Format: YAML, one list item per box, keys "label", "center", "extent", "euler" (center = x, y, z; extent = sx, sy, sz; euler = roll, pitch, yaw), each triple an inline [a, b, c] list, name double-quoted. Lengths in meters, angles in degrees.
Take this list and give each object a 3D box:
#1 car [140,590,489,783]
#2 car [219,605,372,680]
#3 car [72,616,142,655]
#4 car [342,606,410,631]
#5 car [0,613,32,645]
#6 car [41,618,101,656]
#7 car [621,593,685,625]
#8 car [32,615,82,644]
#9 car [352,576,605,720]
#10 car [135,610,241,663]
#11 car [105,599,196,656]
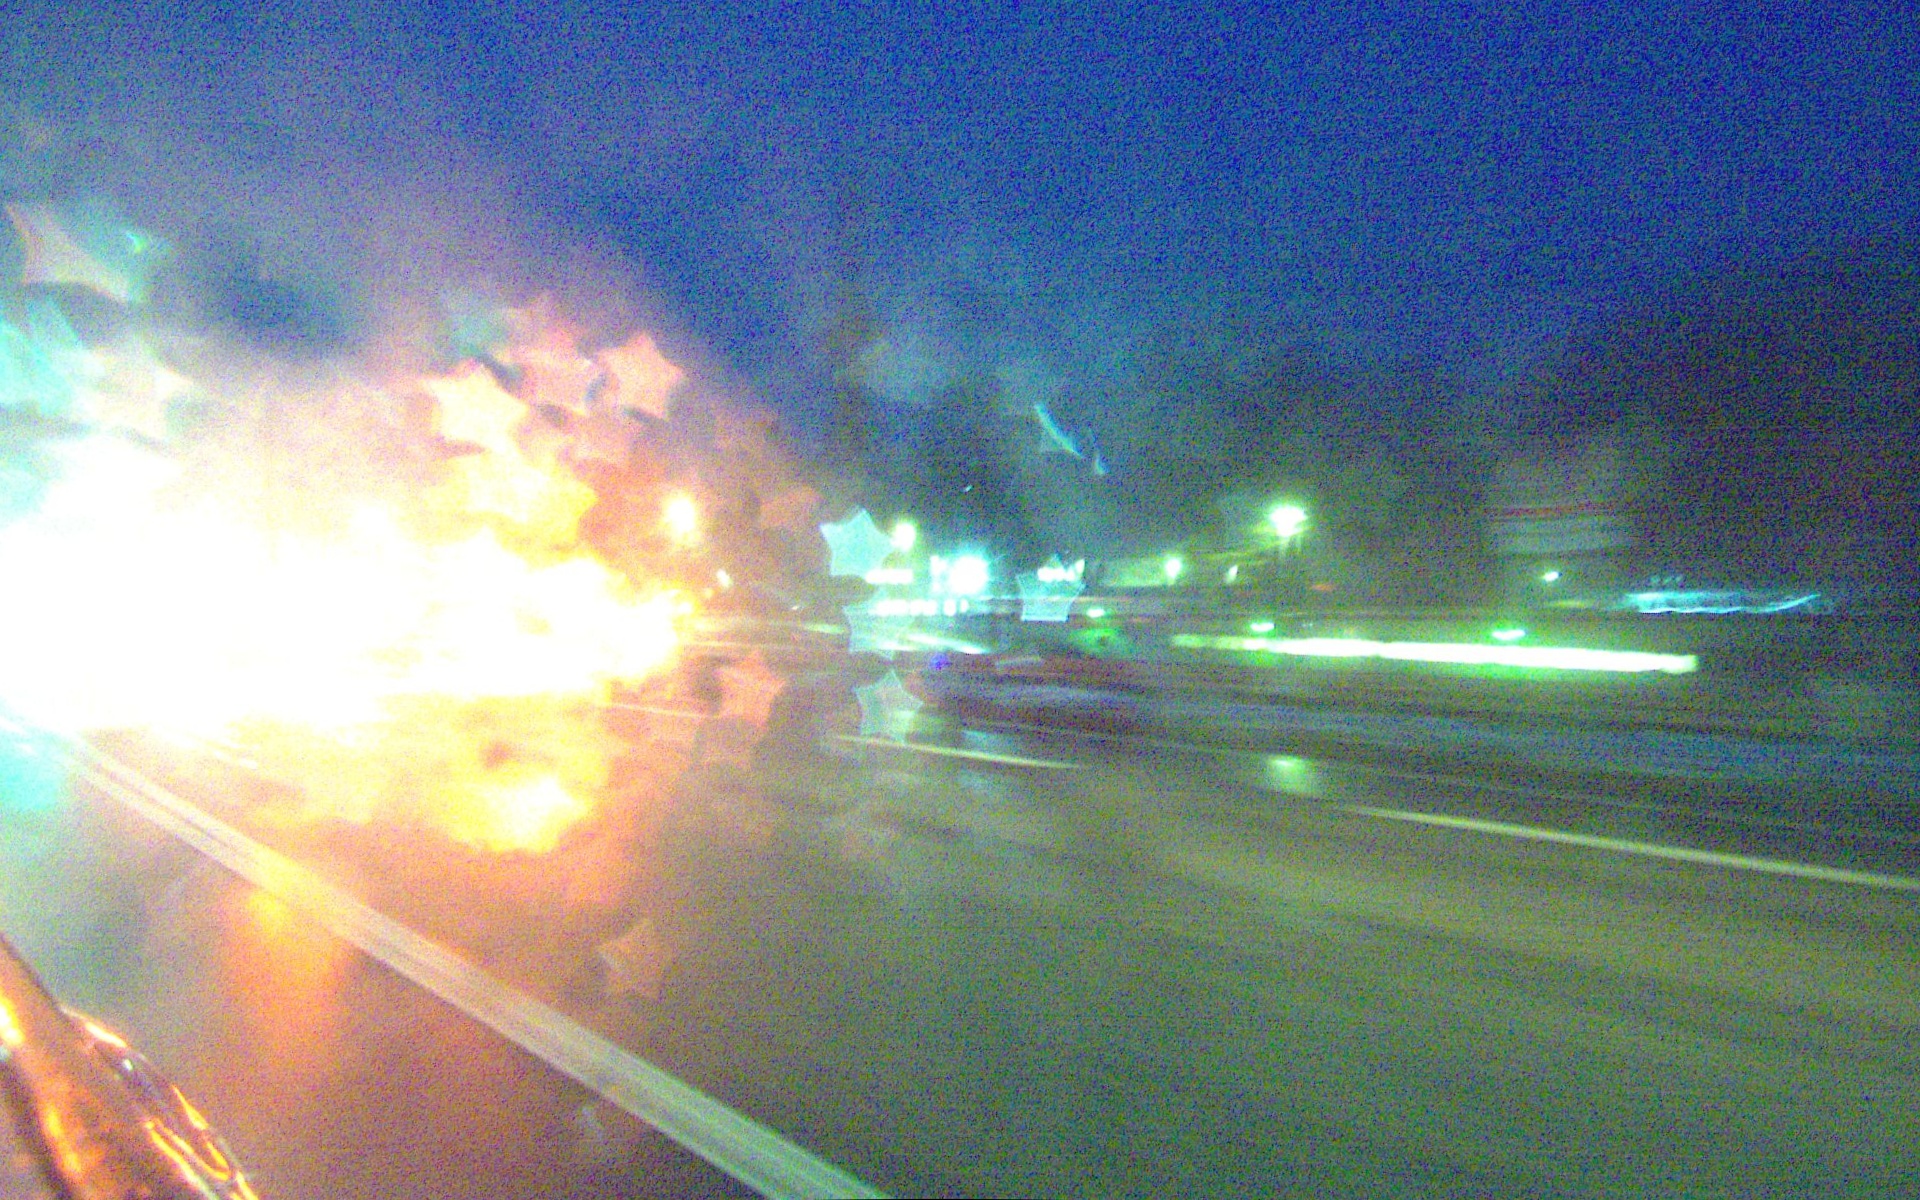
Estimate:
- label: "car"
  center: [-6.988, 0.739, 10.719]
  extent: [4.681, 1.587, 2.087]
  euler: [-1, -1, 44]
- label: "car"
  center: [-15.423, 0.918, 23.372]
  extent: [2.059, 1.554, 4.902]
  euler: [1, -1, -44]
- label: "car"
  center: [-36.283, 1.471, 43.023]
  extent: [3.689, 1.540, 1.944]
  euler: [-1, -1, 44]
- label: "car"
  center: [-44.822, 1.410, 77.778]
  extent: [4.446, 1.858, 2.006]
  euler: [1, -2, -27]
- label: "car"
  center: [-50.525, 1.513, 53.410]
  extent: [4.466, 1.582, 1.936]
  euler: [0, 0, 43]
- label: "car"
  center: [-43.641, 1.781, 49.647]
  extent: [1.971, 1.760, 4.501]
  euler: [0, -1, -45]
- label: "car"
  center: [-22.989, 0.683, 75.608]
  extent: [6.024, 2.325, 1.971]
  euler: [-1, -1, 45]
- label: "car"
  center: [-50.021, 1.615, 56.062]
  extent: [3.602, 1.463, 1.802]
  euler: [0, 0, 44]
- label: "car"
  center: [-7.649, 0.670, 15.767]
  extent: [1.970, 1.879, 5.323]
  euler: [1, -1, -44]
- label: "car"
  center: [-25.336, 1.148, 33.143]
  extent: [2.156, 1.570, 5.207]
  euler: [1, -1, -44]
- label: "car"
  center: [-30.926, 1.015, 38.612]
  extent: [4.997, 2.029, 2.129]
  euler: [-1, -1, 45]
